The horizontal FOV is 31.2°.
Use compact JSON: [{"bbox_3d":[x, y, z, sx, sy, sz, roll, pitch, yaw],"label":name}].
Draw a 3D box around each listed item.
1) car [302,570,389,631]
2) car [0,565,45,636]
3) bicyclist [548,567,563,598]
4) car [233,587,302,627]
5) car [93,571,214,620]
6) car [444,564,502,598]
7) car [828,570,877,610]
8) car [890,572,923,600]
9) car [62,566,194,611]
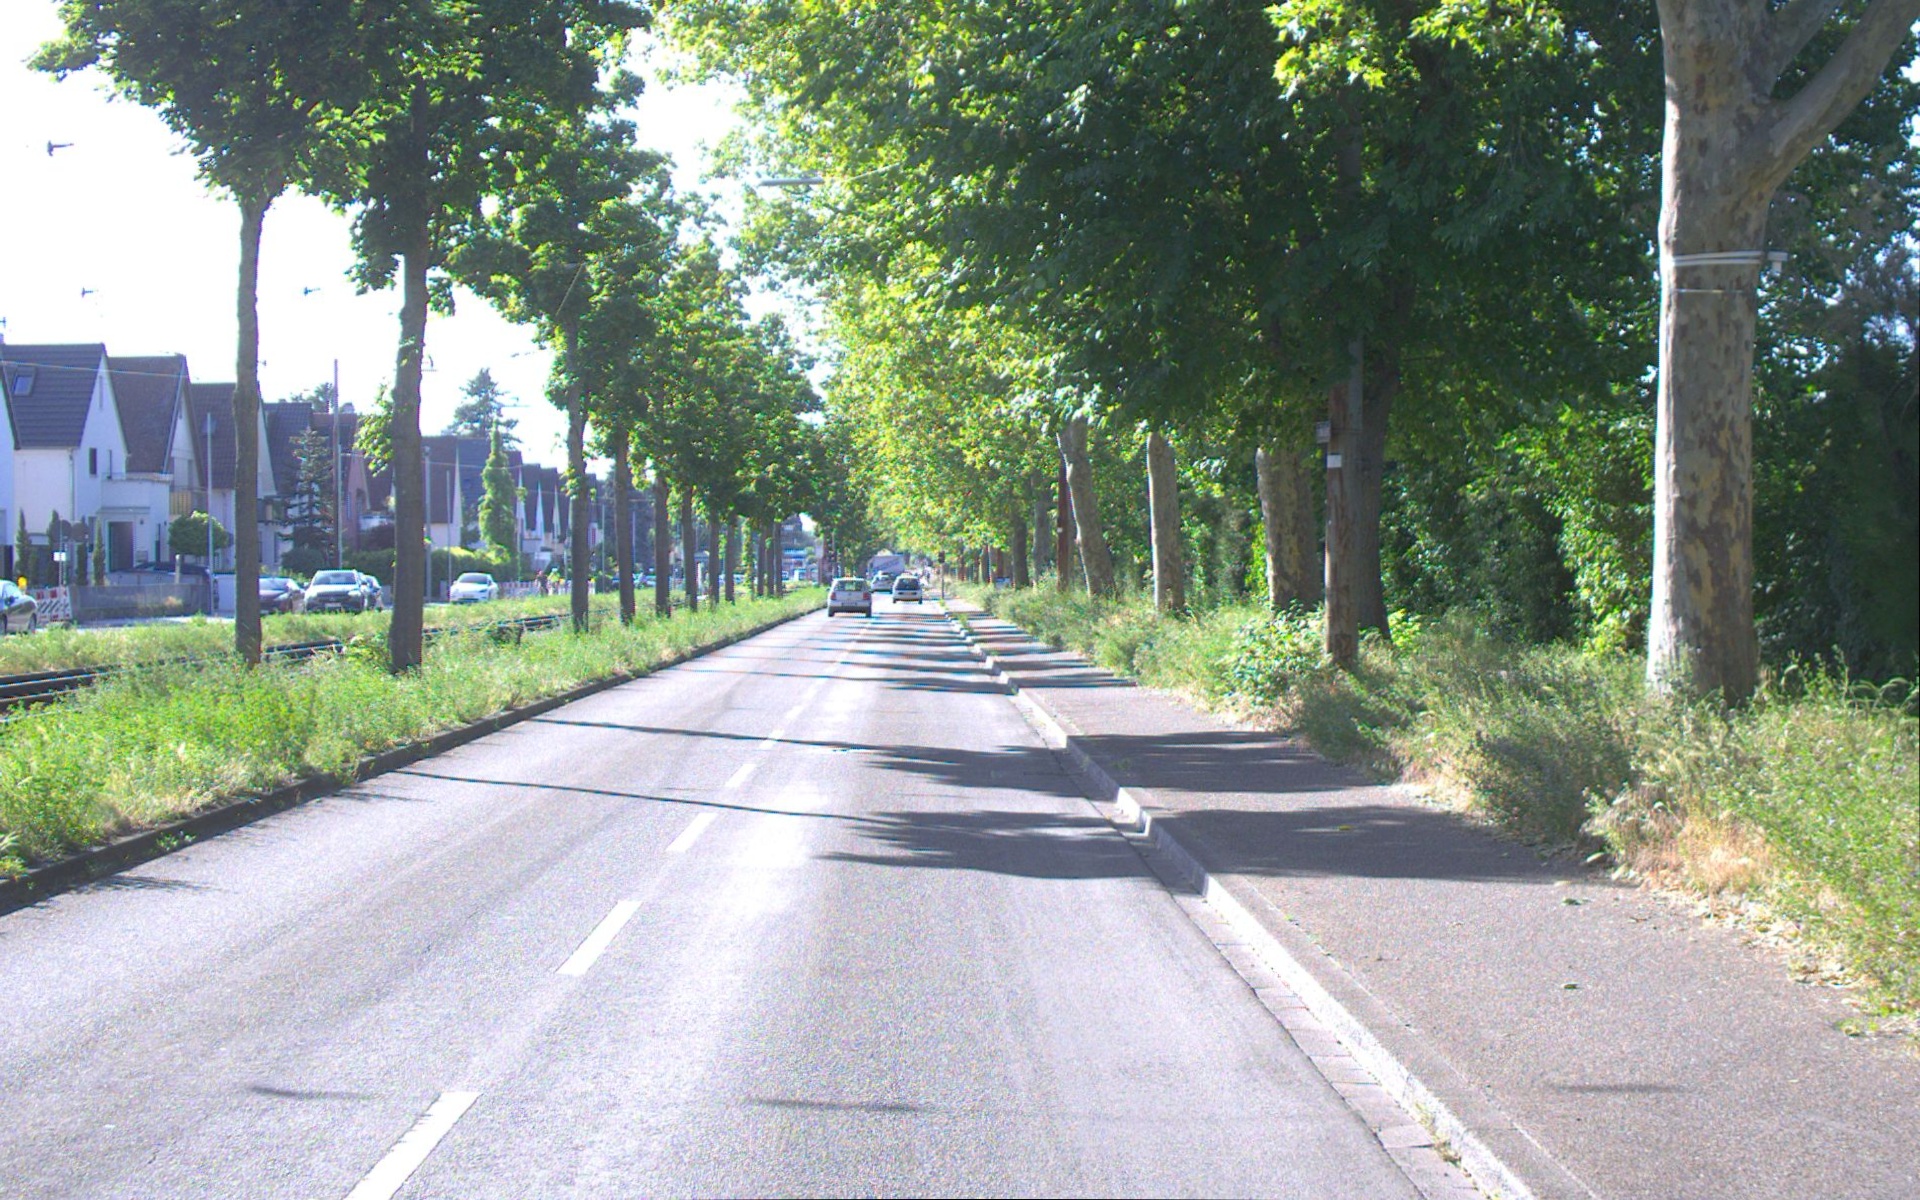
[{"bbox_3d":[-19.798,0.015,110.895,1.915,1.876,4.523,2,0,0],"label":"car"},{"bbox_3d":[-22.833,-0.009,79.738,1.993,1.576,4.498,2,1,0],"label":"car"},{"bbox_3d":[-21.856,-0.926,185.765,0.688,1.646,0.881,2,0,-1],"label":"bicyclist"},{"bbox_3d":[-23.686,0.239,117.719,1.494,1.321,4.000,2,0,1],"label":"car"},{"bbox_3d":[-29.454,-0.154,125.629,3.986,1.664,2.000,2,0,-4],"label":"car"},{"bbox_3d":[-24.571,-0.948,173.513,1.994,1.593,4.731,2,0,3],"label":"car"},{"bbox_3d":[-3.978,-0.358,127.957,1.738,1.396,3.277,2,0,-1],"label":"car"},{"bbox_3d":[-2.986,-0.781,192.488,1.761,1.508,3.276,2,0,0],"label":"car"},{"bbox_3d":[-29.230,-0.396,120.932,4.212,1.458,1.938,2,0,-4],"label":"car"}]
